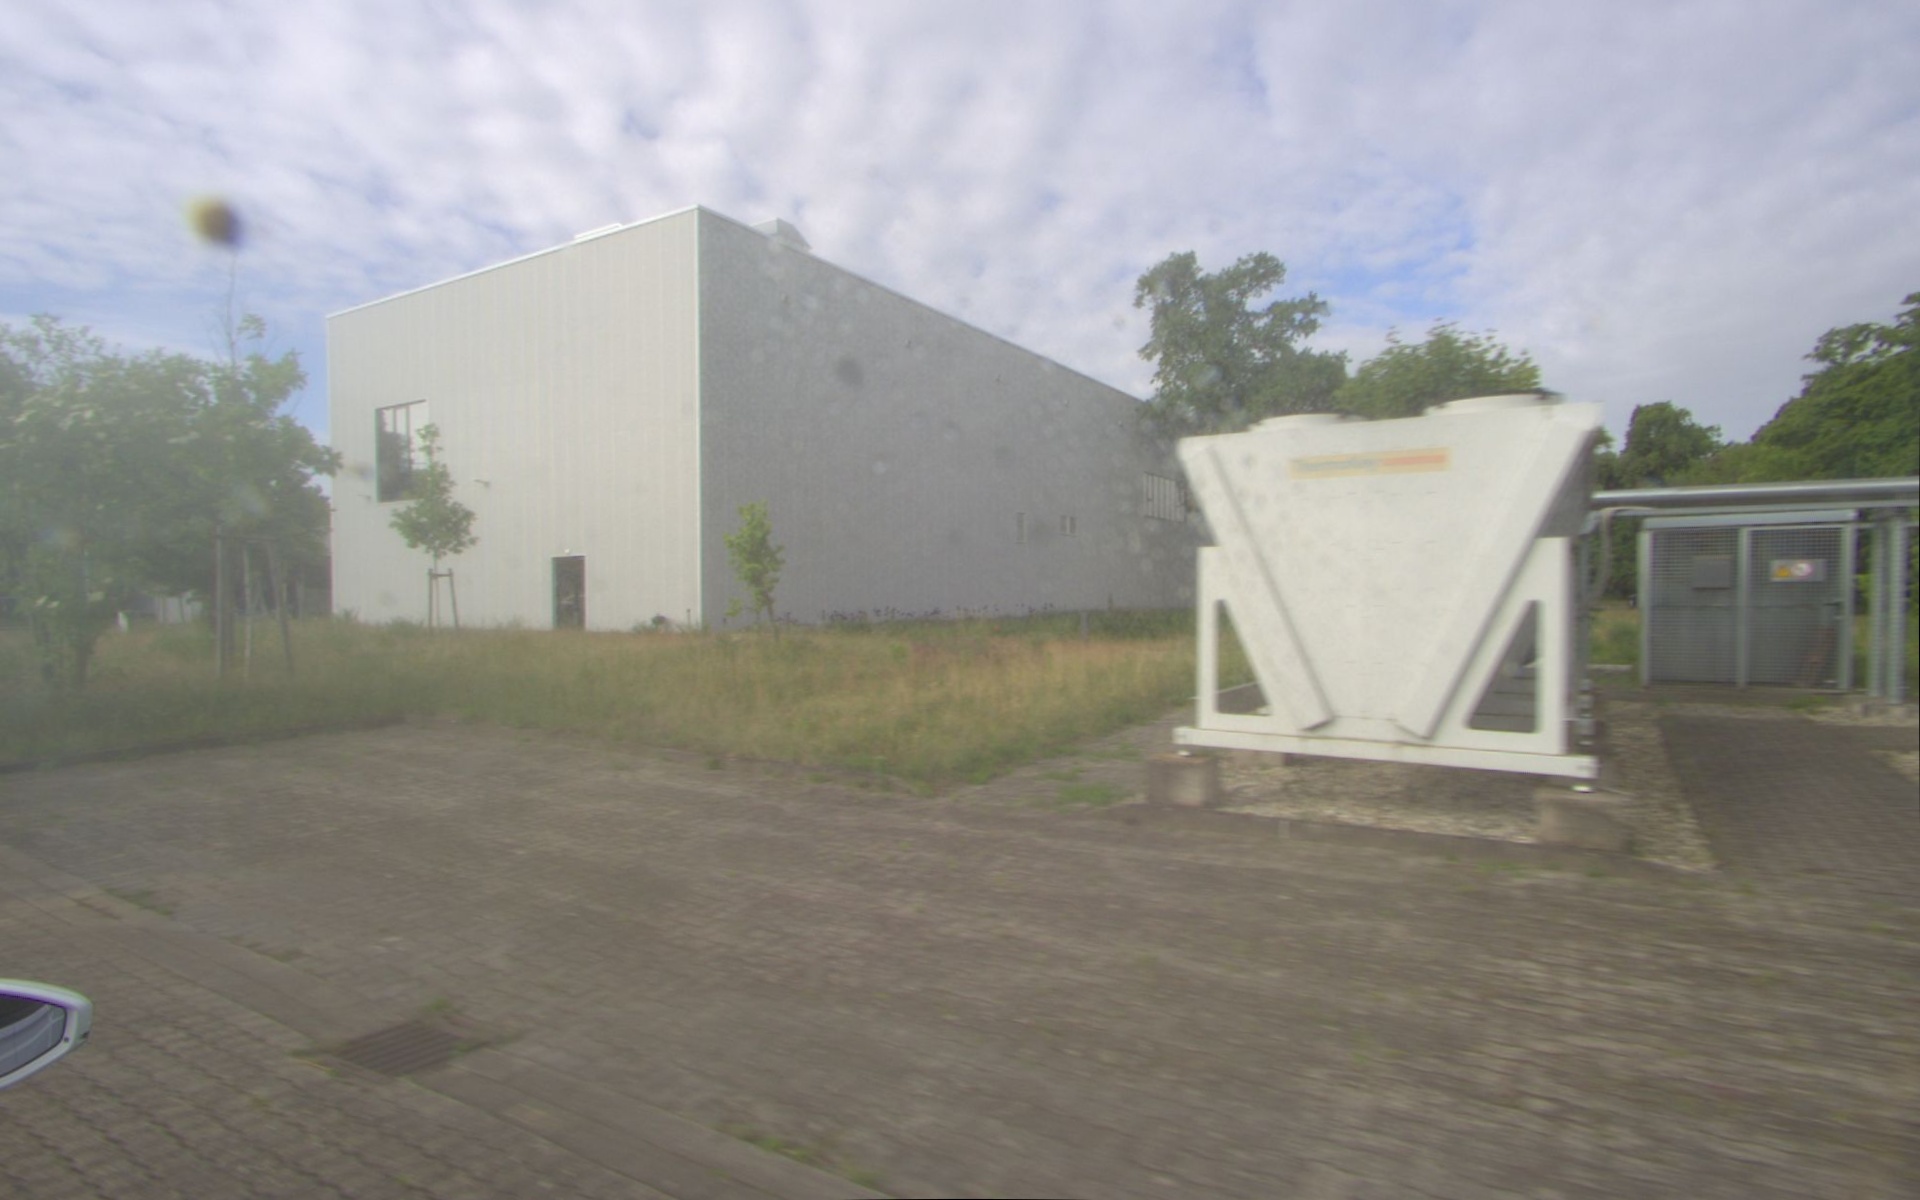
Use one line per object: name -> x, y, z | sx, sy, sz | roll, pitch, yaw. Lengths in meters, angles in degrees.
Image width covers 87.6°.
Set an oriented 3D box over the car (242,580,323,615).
car -> -42.166, -0.164, 62.291 | 5.259, 2.041, 2.237 | 0, 1, 32
